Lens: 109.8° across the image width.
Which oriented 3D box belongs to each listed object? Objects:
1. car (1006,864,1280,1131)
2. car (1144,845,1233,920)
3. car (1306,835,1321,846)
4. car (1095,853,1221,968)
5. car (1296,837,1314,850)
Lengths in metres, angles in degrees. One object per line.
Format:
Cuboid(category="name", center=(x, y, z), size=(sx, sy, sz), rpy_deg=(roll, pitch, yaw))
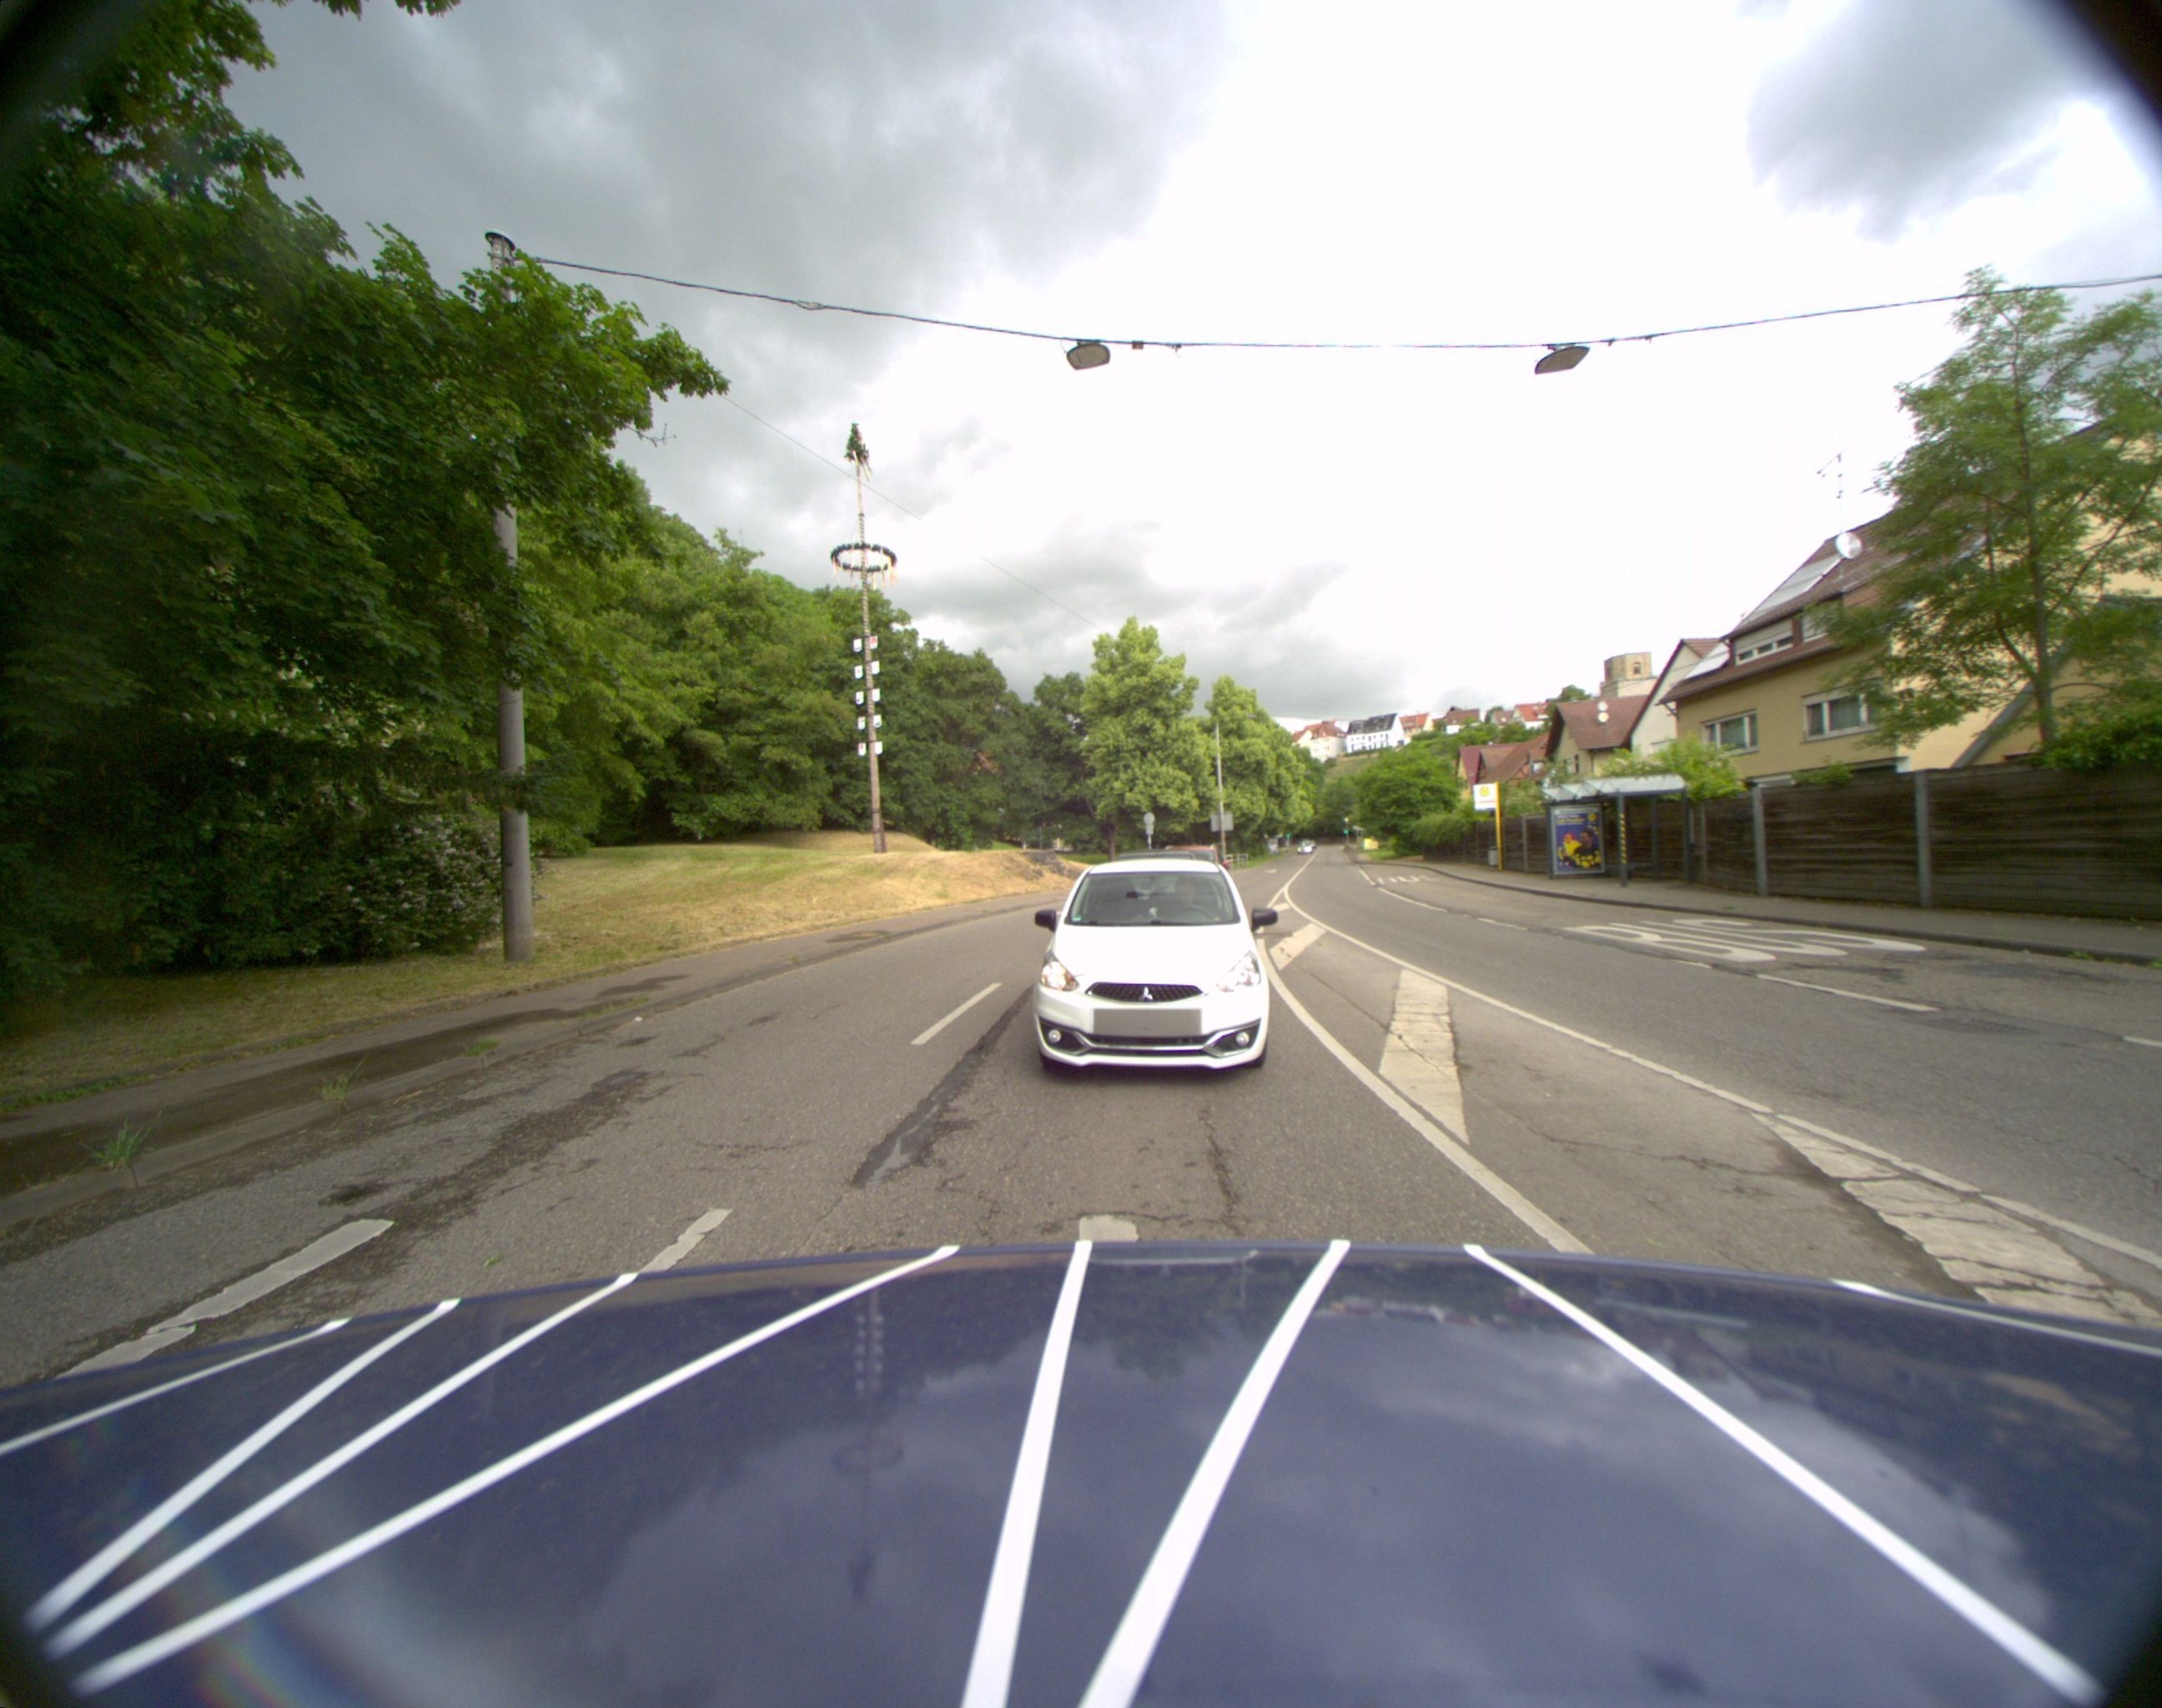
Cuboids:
Cuboid(category="car", center=(0.640, 0.917, 6.438), size=(1.617, 1.505, 3.607), rpy_deg=(-2, 1, 9))
Cuboid(category="car", center=(2.858, 0.642, 19.467), size=(1.826, 1.662, 4.061), rpy_deg=(-2, 1, 13))
Cuboid(category="car", center=(39.640, -2.231, 129.744), size=(1.910, 1.745, 4.003), rpy_deg=(-3, 0, 11))
Cuboid(category="car", center=(1.369, 0.804, 12.599), size=(1.723, 1.539, 3.784), rpy_deg=(-2, 1, 9))
Cuboid(category="car", center=(28.832, -1.333, 97.815), size=(1.844, 1.630, 4.003), rpy_deg=(-2, 1, 13))
